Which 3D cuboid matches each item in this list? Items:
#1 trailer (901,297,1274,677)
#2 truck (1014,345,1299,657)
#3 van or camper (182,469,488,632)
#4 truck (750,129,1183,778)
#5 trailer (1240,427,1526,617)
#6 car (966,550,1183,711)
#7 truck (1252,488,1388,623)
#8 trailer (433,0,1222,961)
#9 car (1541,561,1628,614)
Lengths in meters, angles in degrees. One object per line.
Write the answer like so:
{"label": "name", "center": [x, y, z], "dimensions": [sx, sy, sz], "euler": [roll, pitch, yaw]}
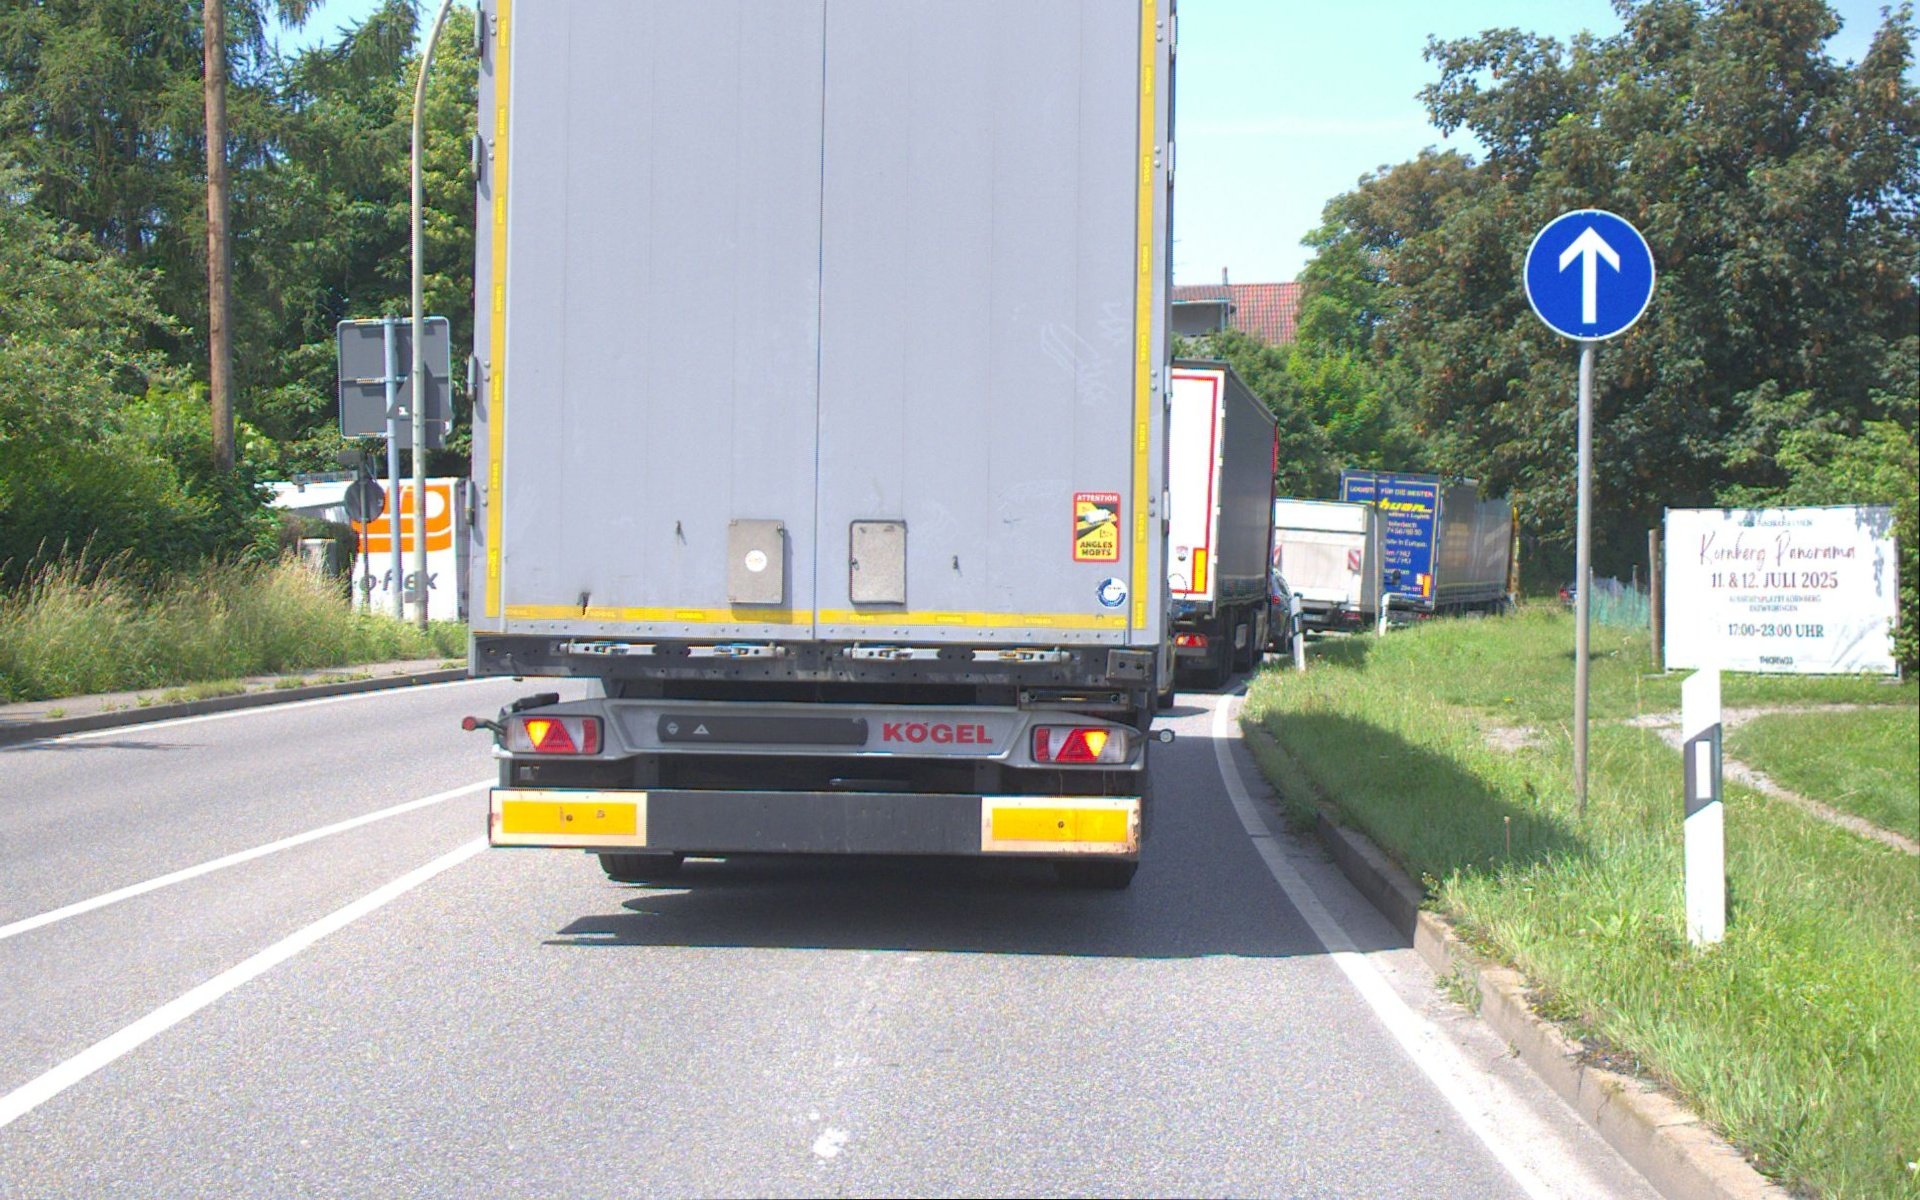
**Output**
{"label": "trailer", "center": [2.083, -1.440, 47.287], "dimensions": [3.892, 4.505, 12.709], "euler": [1, 1, 8]}
{"label": "truck", "center": [3.229, -1.517, 54.124], "dimensions": [3.938, 4.559, 7.150], "euler": [1, 1, 8]}
{"label": "van or camper", "center": [-10.718, -0.862, 59.196], "dimensions": [4.855, 2.706, 2.198], "euler": [1, 1, 0]}
{"label": "truck", "center": [0.206, -1.021, 25.234], "dimensions": [2.746, 4.151, 6.142], "euler": [1, 1, 3]}
{"label": "trailer", "center": [11.639, -2.094, 92.255], "dimensions": [5.183, 4.612, 15.884], "euler": [1, 1, 16]}
{"label": "car", "center": [1.254, 0.275, 35.987], "dimensions": [1.994, 1.525, 3.999], "euler": [1, 1, 6]}
{"label": "truck", "center": [7.949, -1.003, 75.422], "dimensions": [2.421, 2.828, 5.410], "euler": [1, 1, 11]}
{"label": "trailer", "center": [-0.170, -0.973, 18.304], "dimensions": [2.787, 4.191, 12.110], "euler": [1, 1, 3]}
{"label": "car", "center": [20.843, -0.447, 114.664], "dimensions": [1.996, 1.678, 3.995], "euler": [1, 1, 23]}
